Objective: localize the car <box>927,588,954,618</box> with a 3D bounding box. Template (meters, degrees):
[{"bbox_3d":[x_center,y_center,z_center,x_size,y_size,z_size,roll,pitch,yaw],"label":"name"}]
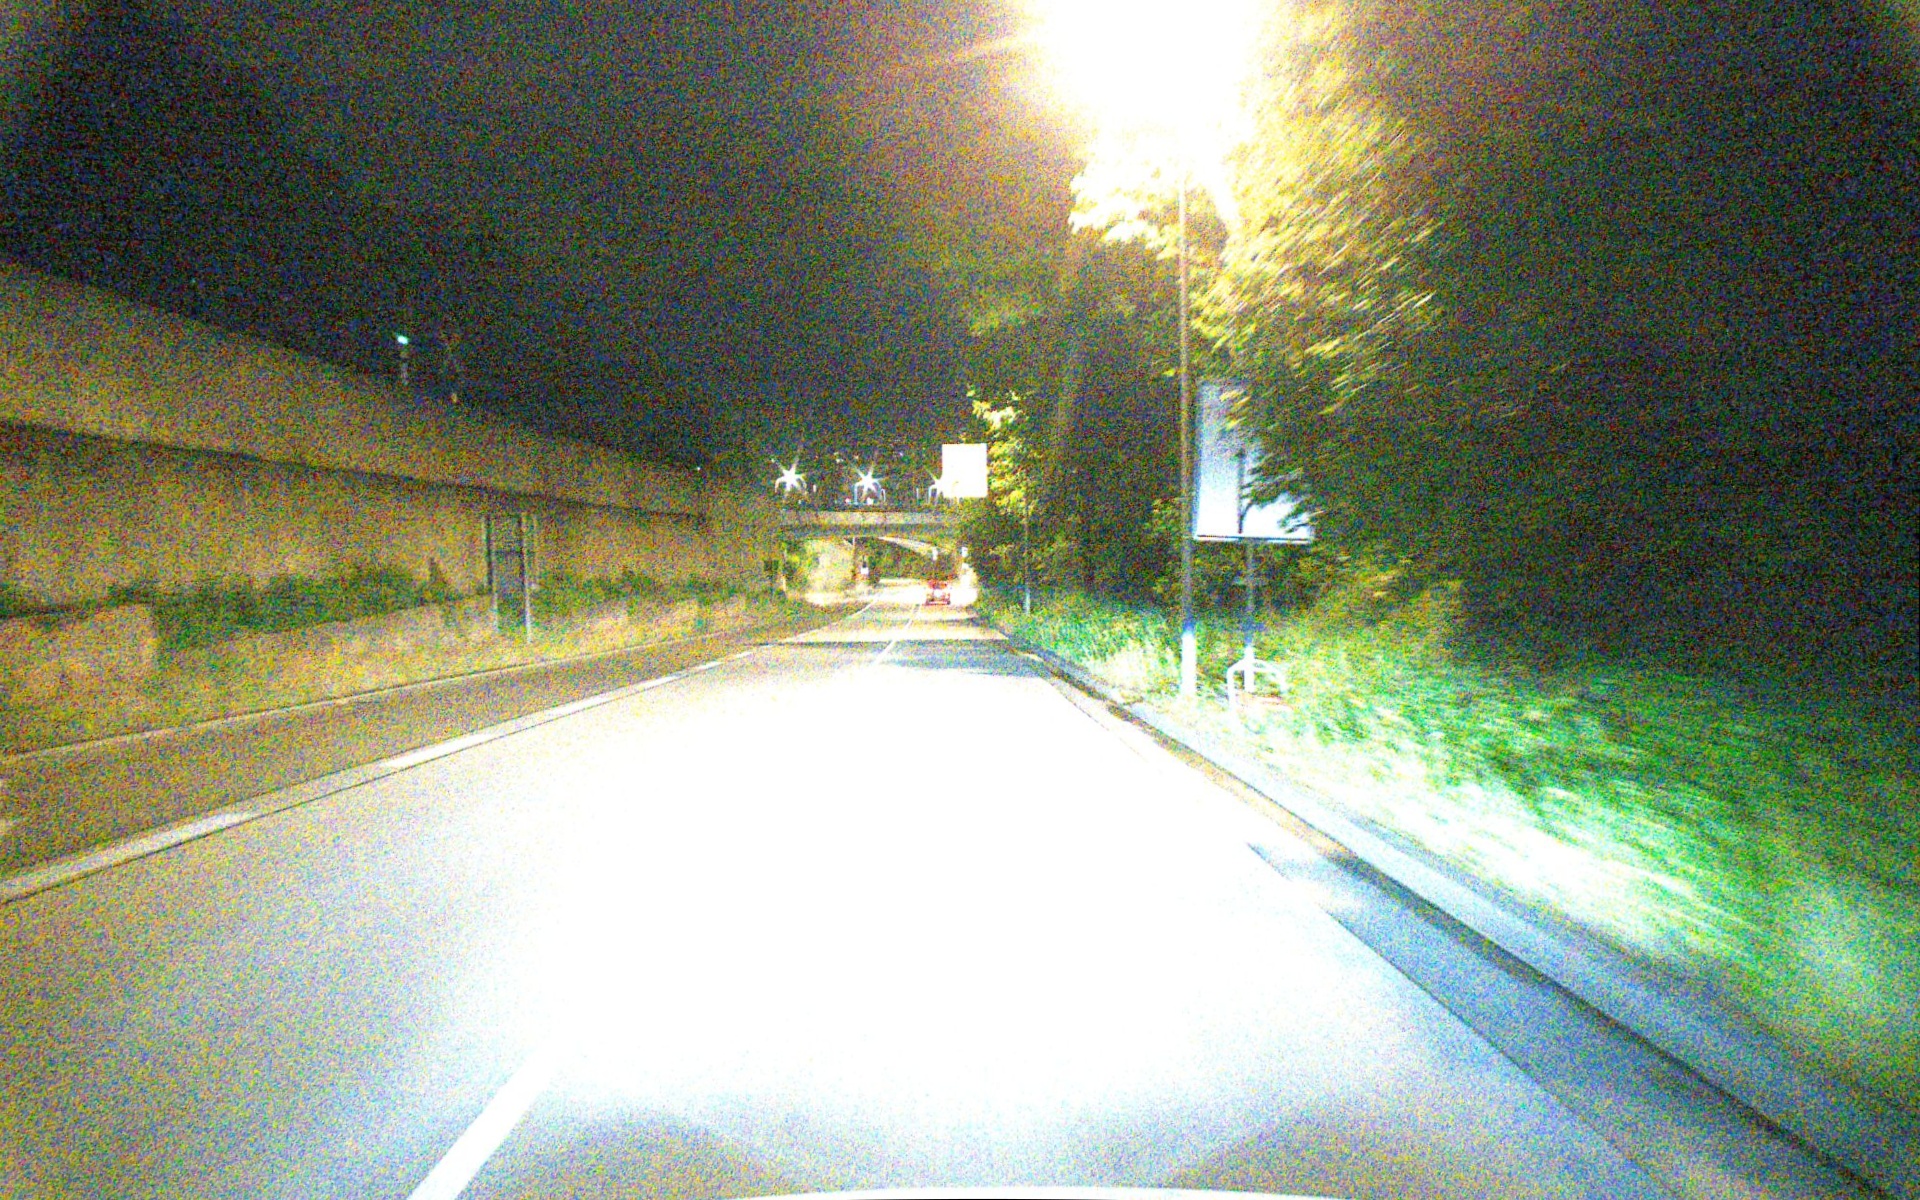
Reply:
[{"bbox_3d":[-1.420,0.217,118.873,1.880,2.049,4.121,1,0,-1],"label":"car"}]
